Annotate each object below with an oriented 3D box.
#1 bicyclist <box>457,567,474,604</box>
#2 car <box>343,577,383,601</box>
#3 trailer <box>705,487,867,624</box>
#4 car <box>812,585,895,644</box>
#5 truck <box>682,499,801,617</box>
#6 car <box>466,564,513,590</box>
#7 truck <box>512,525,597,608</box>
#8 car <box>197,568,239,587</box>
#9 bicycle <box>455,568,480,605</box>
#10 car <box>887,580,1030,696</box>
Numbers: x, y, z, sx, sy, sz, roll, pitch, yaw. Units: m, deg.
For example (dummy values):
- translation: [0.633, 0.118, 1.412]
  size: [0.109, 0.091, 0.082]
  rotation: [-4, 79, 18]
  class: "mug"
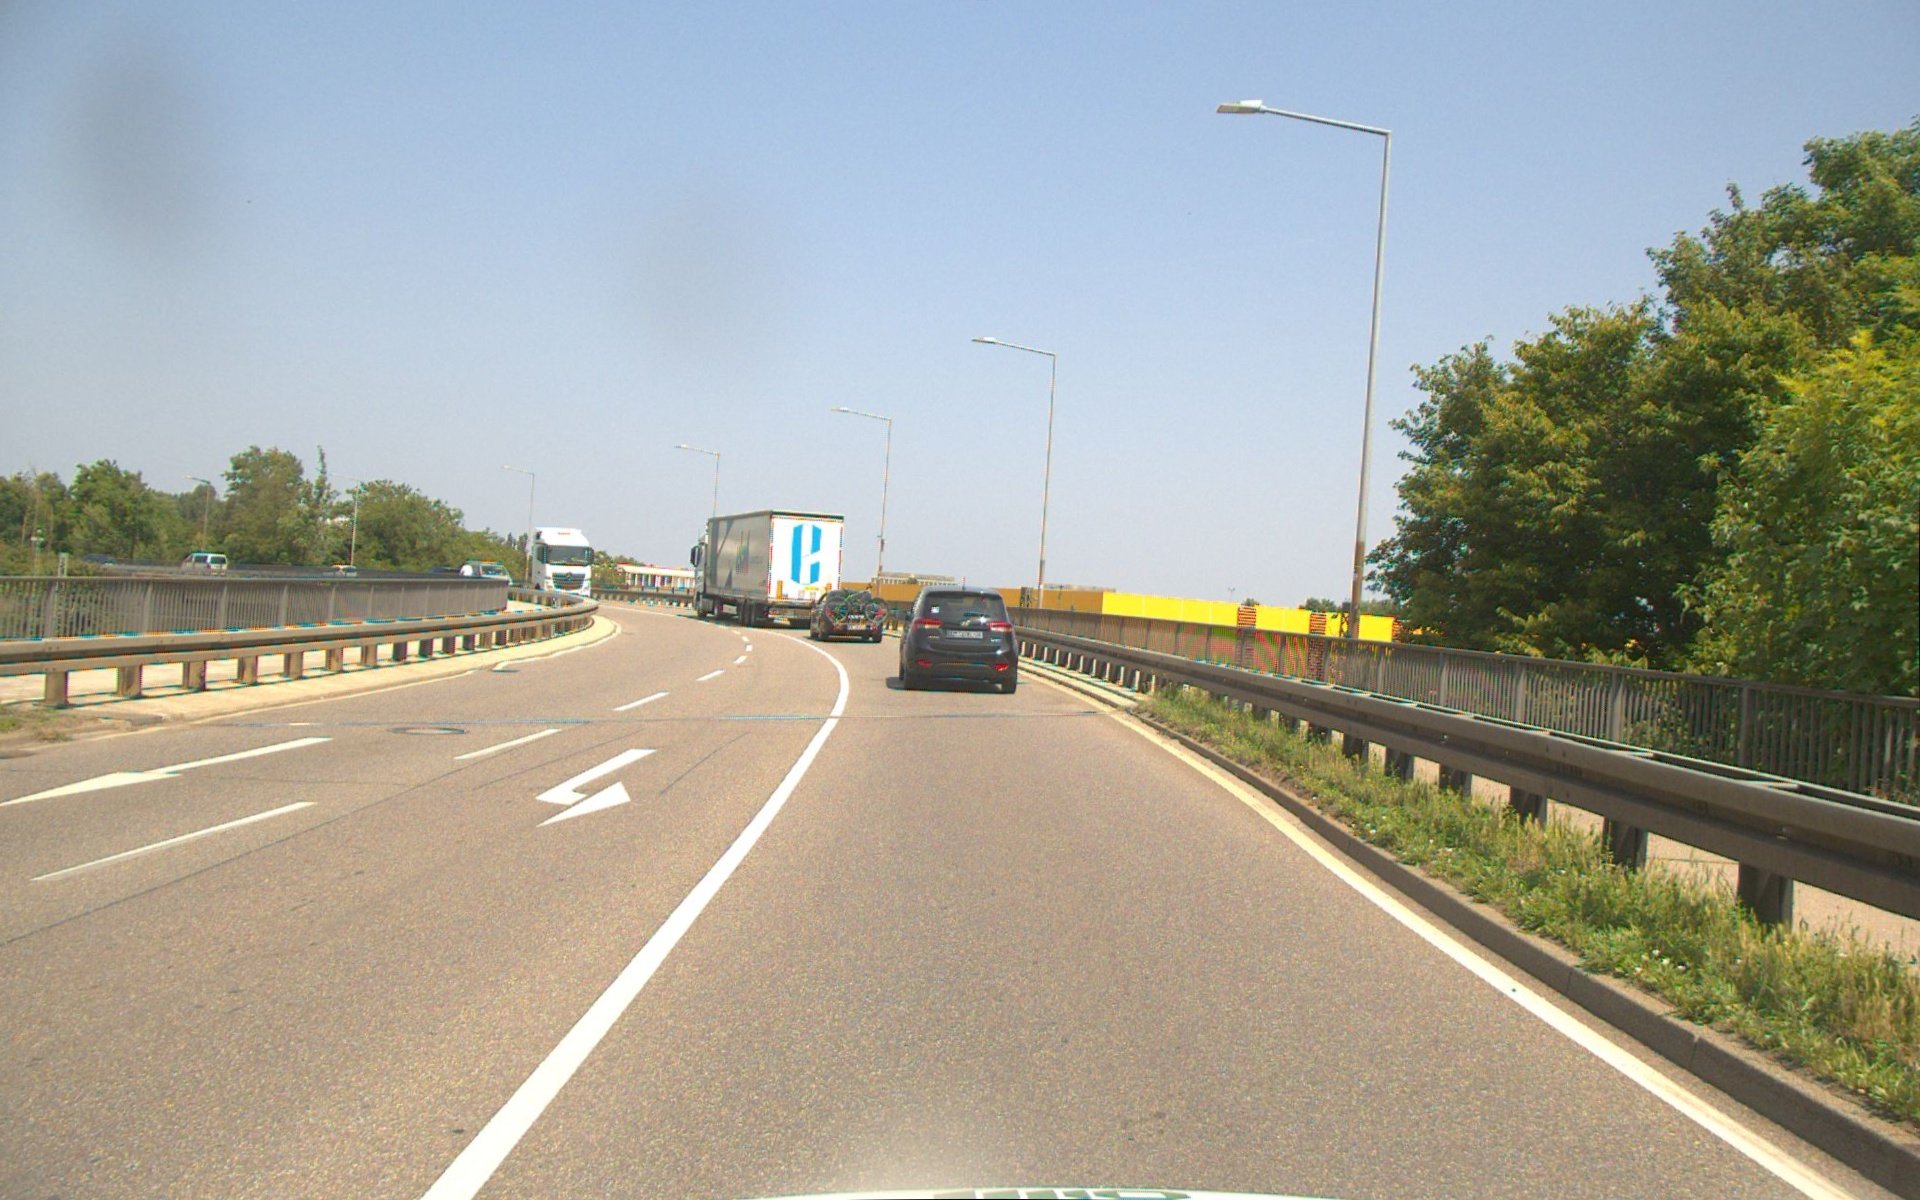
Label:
- translation: [-25.914, -0.751, 86.737]
  size: [0.618, 1.919, 0.705]
  rotation: [3, 0, -31]
  class: "bicyclist"
- translation: [-44.874, -0.829, 124.336]
  size: [1.663, 1.668, 3.718]
  rotation: [3, 1, -39]
  class: "car"
- translation: [-6.695, -1.617, 61.551]
  size: [3.515, 4.460, 11.383]
  rotation: [3, 1, -18]
  class: "trailer"
- translation: [-3.014, 0.366, 46.067]
  size: [1.974, 1.454, 3.770]
  rotation: [3, 0, -8]
  class: "car"
- translation: [-9.213, -1.750, 69.097]
  size: [3.519, 4.518, 6.480]
  rotation: [3, 0, -19]
  class: "truck"
- translation: [-27.700, -1.368, 97.370]
  size: [1.545, 1.410, 3.572]
  rotation: [3, 1, -34]
  class: "car"
- translation: [-21.243, -1.762, 86.463]
  size: [2.676, 4.060, 6.128]
  rotation: [3, 0, -29]
  class: "truck"
- translation: [-63.198, -1.900, 140.787]
  size: [3.541, 1.410, 1.559]
  rotation: [3, 0, 33]
  class: "car"
- translation: [-25.827, -0.732, 86.652]
  size: [0.691, 1.833, 2.159]
  rotation: [3, 0, -30]
  class: "bicycle"
- translation: [-0.110, 0.542, 26.373]
  size: [1.884, 1.601, 3.888]
  rotation: [3, 0, -5]
  class: "car"
